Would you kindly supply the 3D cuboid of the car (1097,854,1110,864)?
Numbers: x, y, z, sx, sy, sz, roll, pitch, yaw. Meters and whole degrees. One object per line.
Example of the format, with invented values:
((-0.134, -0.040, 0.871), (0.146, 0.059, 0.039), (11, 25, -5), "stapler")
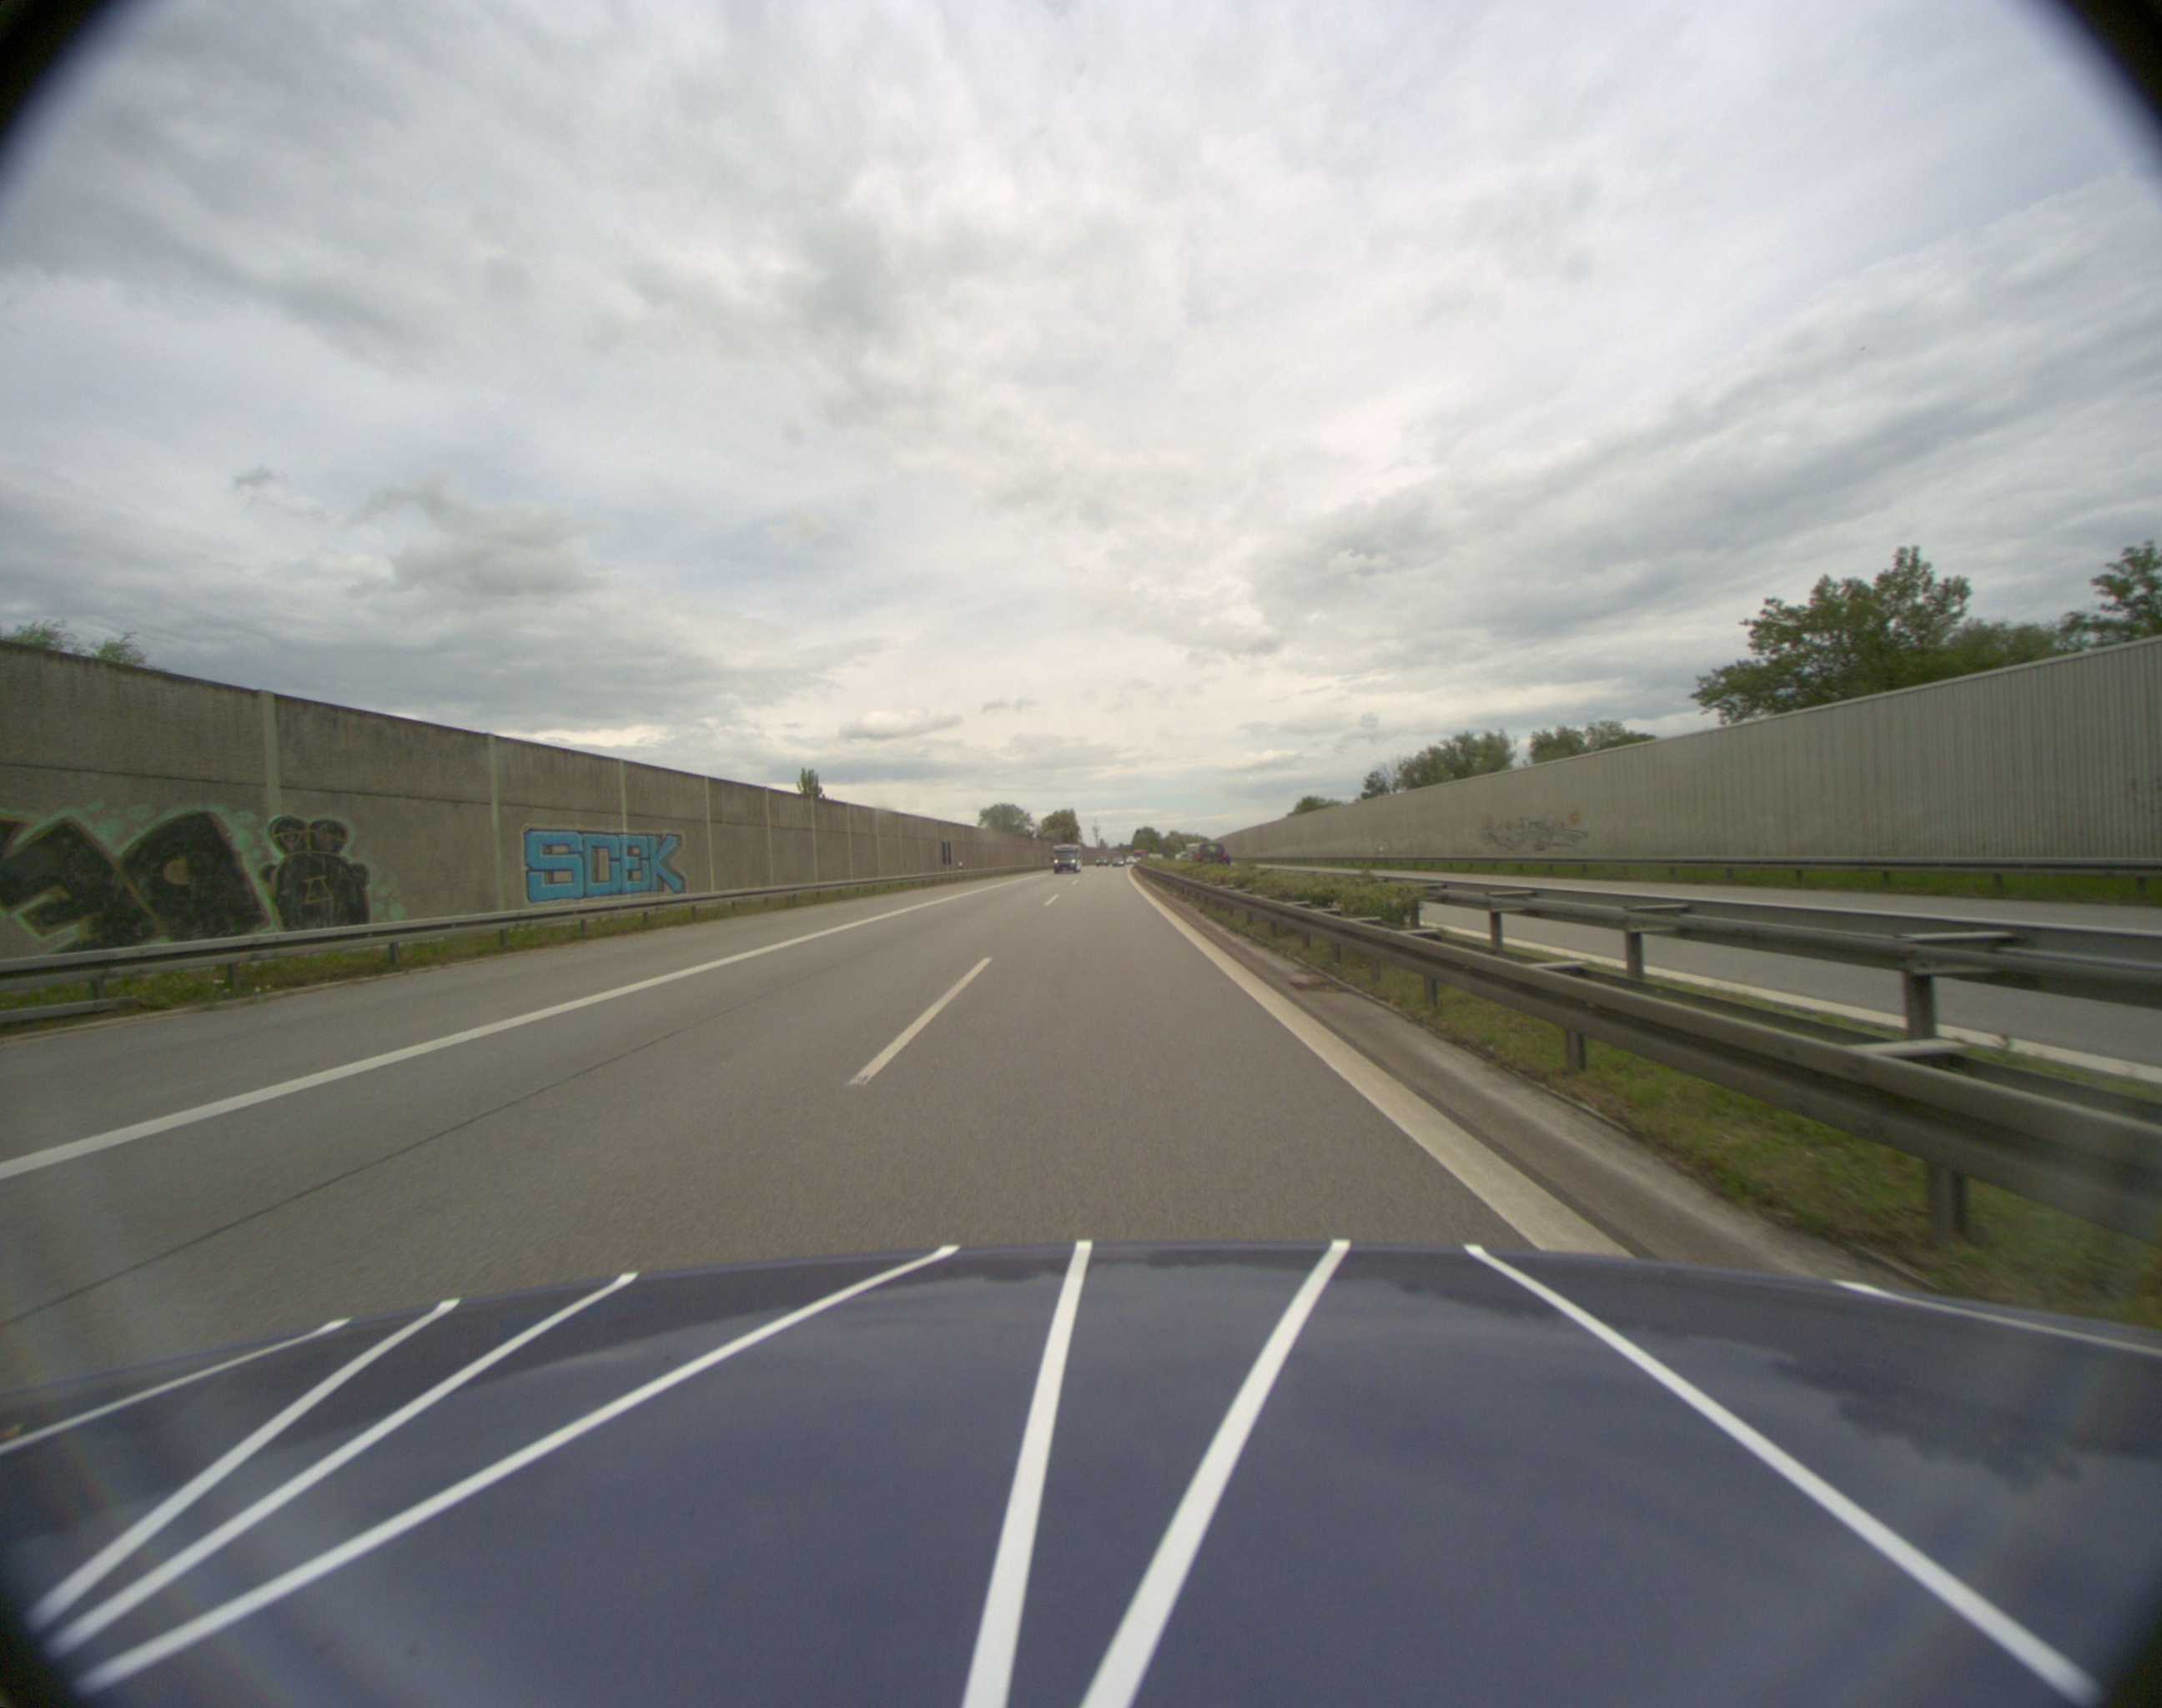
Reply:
((3.835, 0.765, 126.828), (1.889, 1.608, 4.002), (-1, 0, 5), "car")

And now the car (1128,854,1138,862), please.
((10.672, 0.849, 155.724), (1.889, 1.608, 4.001), (-1, 0, 4), "car")

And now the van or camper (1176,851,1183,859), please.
((33.634, 0.353, 260.330), (1.998, 2.427, 6.311), (-1, 0, 4), "van or camper")

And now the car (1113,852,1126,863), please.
((5.846, 0.487, 115.541), (1.889, 1.608, 4.002), (-1, 0, 5), "car")

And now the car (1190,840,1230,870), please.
((8.845, 0.077, 52.495), (1.998, 1.875, 4.555), (-2, 0, 1), "car")

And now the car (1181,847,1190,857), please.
((27.728, -0.520, 201.287), (2.116, 2.441, 5.686), (-1, 0, 6), "car")

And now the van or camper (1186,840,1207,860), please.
((16.145, -0.571, 106.658), (2.259, 2.763, 5.756), (-2, 0, 3), "van or camper")

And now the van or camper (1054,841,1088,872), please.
((-0.893, 0.274, 72.382), (2.434, 2.680, 7.228), (-2, -1, 5), "van or camper")
